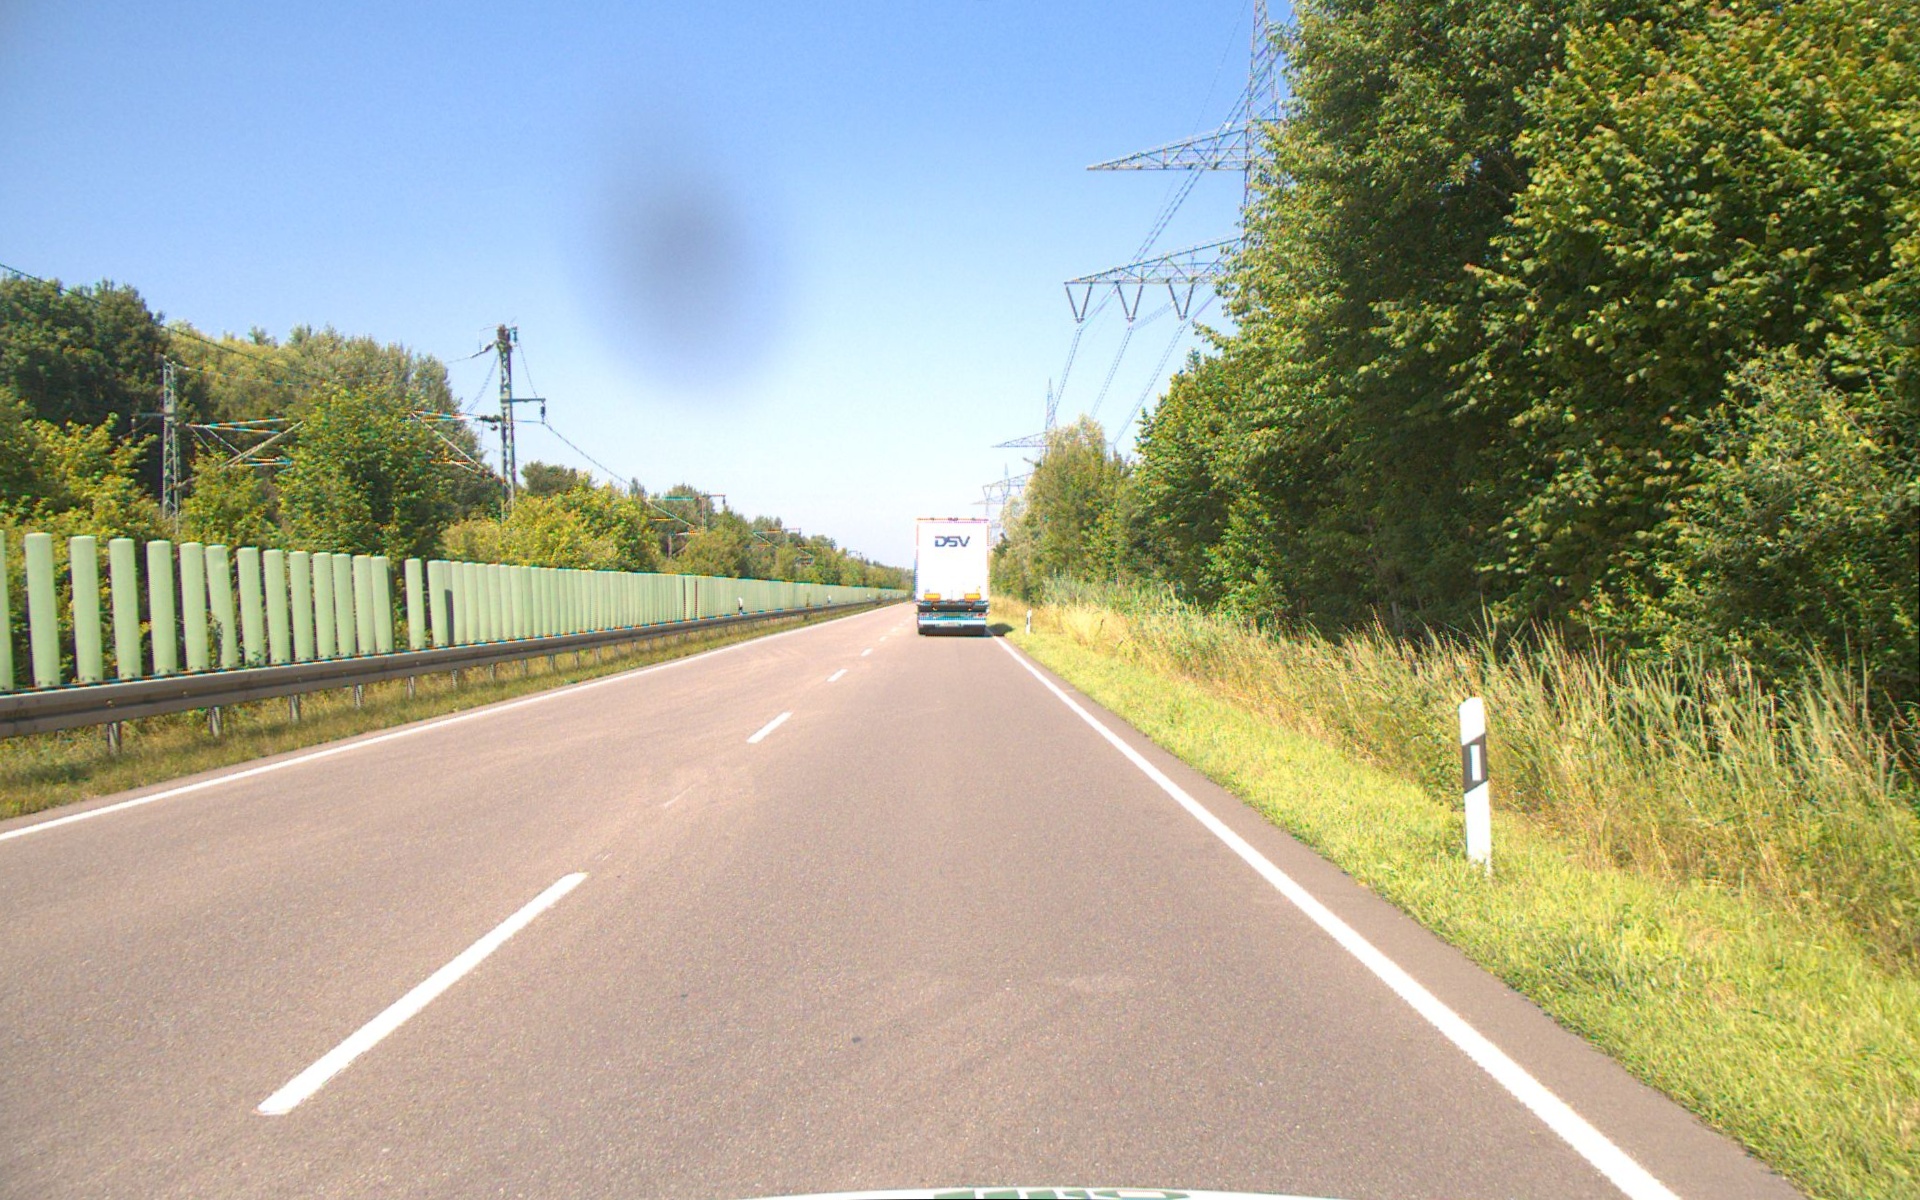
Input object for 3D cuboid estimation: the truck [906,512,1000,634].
[{"bbox_3d":[-0.361,-0.941,61.748,3.127,4.113,12.004,0,0,-1],"label":"truck"}]
